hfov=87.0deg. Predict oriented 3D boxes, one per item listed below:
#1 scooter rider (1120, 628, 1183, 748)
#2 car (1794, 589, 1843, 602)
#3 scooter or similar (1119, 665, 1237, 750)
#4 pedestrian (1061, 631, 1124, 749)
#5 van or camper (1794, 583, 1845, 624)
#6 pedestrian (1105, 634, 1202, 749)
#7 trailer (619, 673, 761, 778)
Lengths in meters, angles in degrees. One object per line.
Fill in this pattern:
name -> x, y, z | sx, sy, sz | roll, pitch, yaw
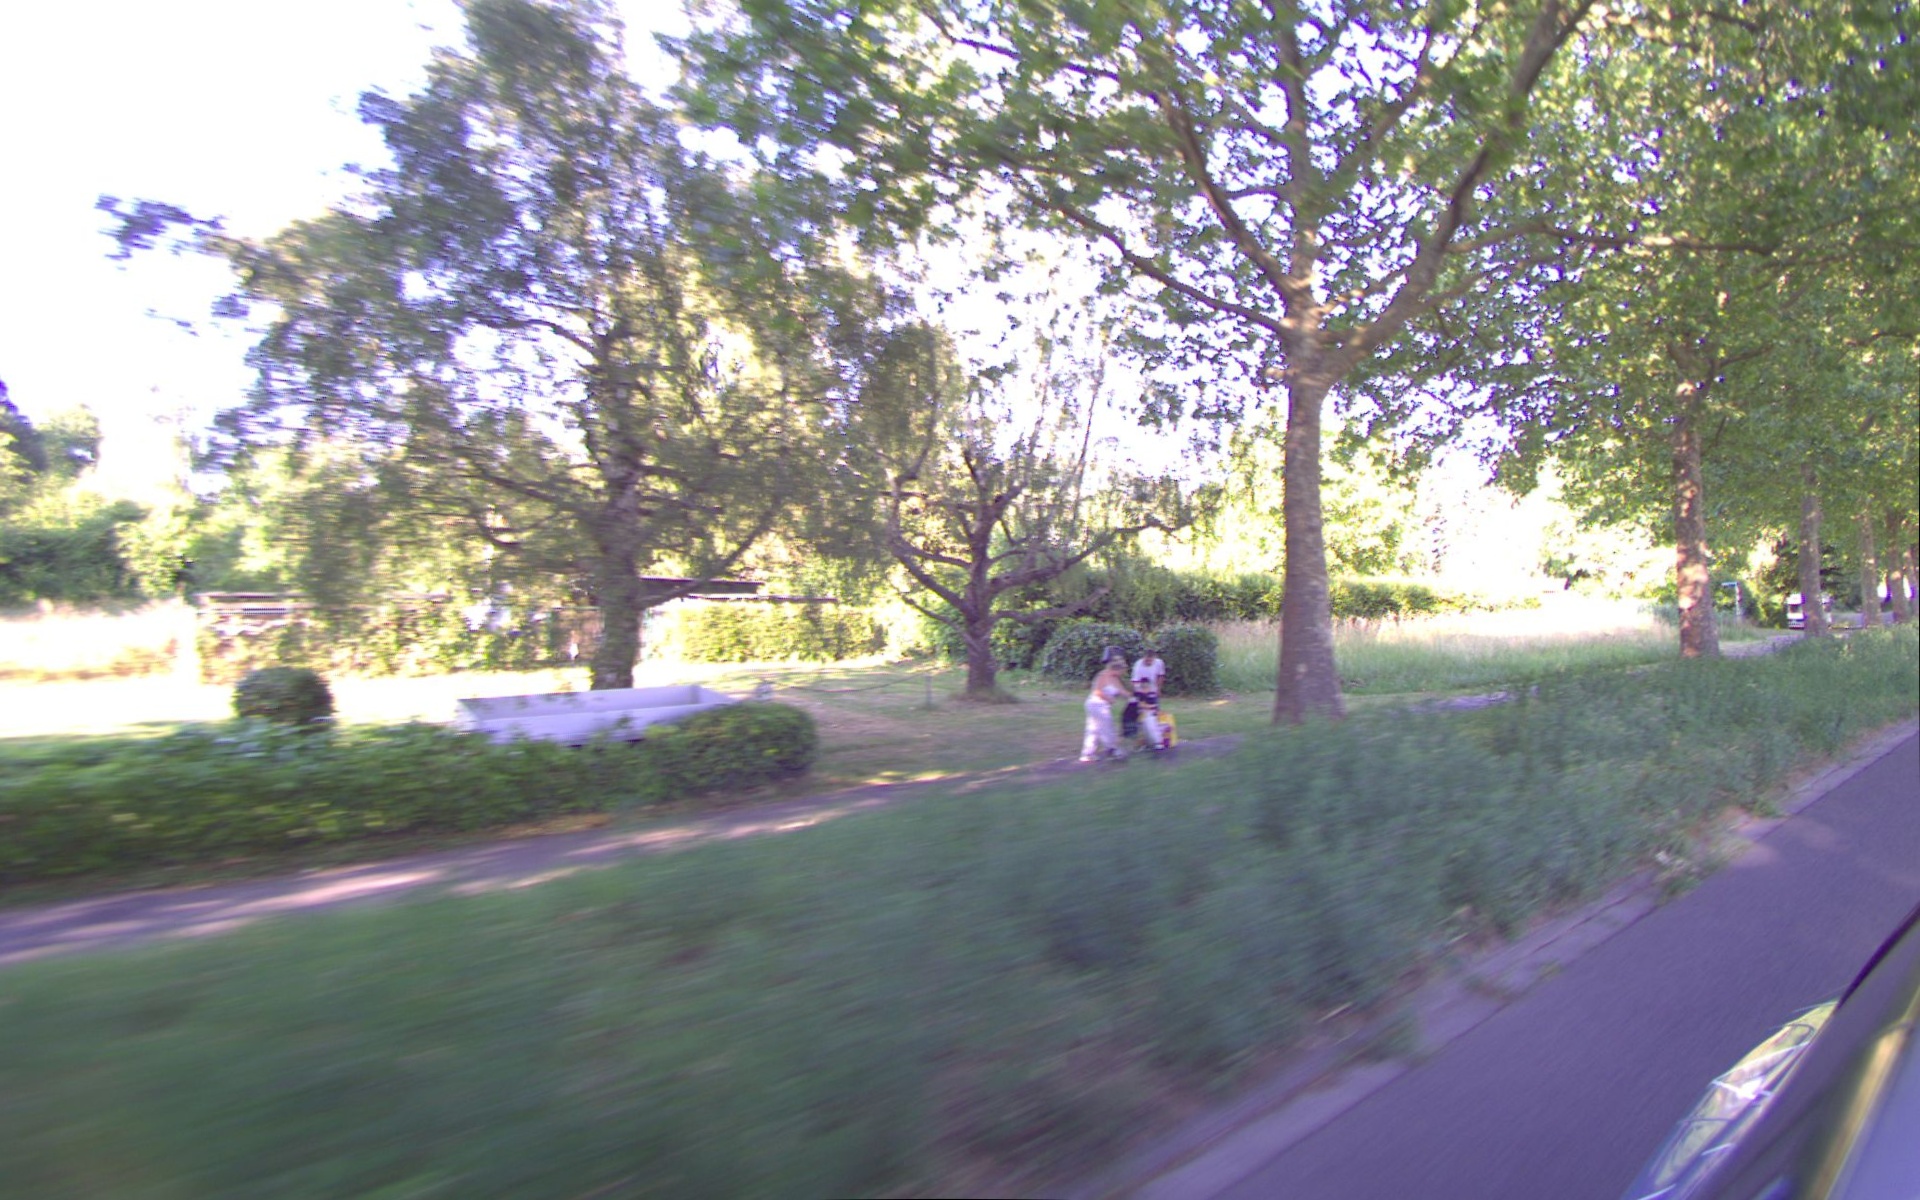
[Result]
scooter rider -> 2.734, 1.224, 14.383 | 0.832, 1.596, 0.781 | 0, 1, 14
car -> 99.164, -0.506, 116.958 | 1.964, 1.404, 3.997 | -1, 1, -38
scooter or similar -> 3.035, 1.496, 14.168 | 1.571, 1.149, 0.340 | 0, 1, 6
pedestrian -> 1.916, 1.264, 14.538 | 0.832, 1.596, 0.782 | 0, 1, 13
van or camper -> 62.946, 0.211, 74.047 | 5.593, 2.834, 2.382 | -1, 1, -45
pedestrian -> 2.953, 1.362, 15.457 | 1.183, 1.596, 0.846 | -1, 1, -30
trailer -> -3.677, 1.634, 13.662 | 1.178, 1.065, 2.124 | -1, 1, -36
